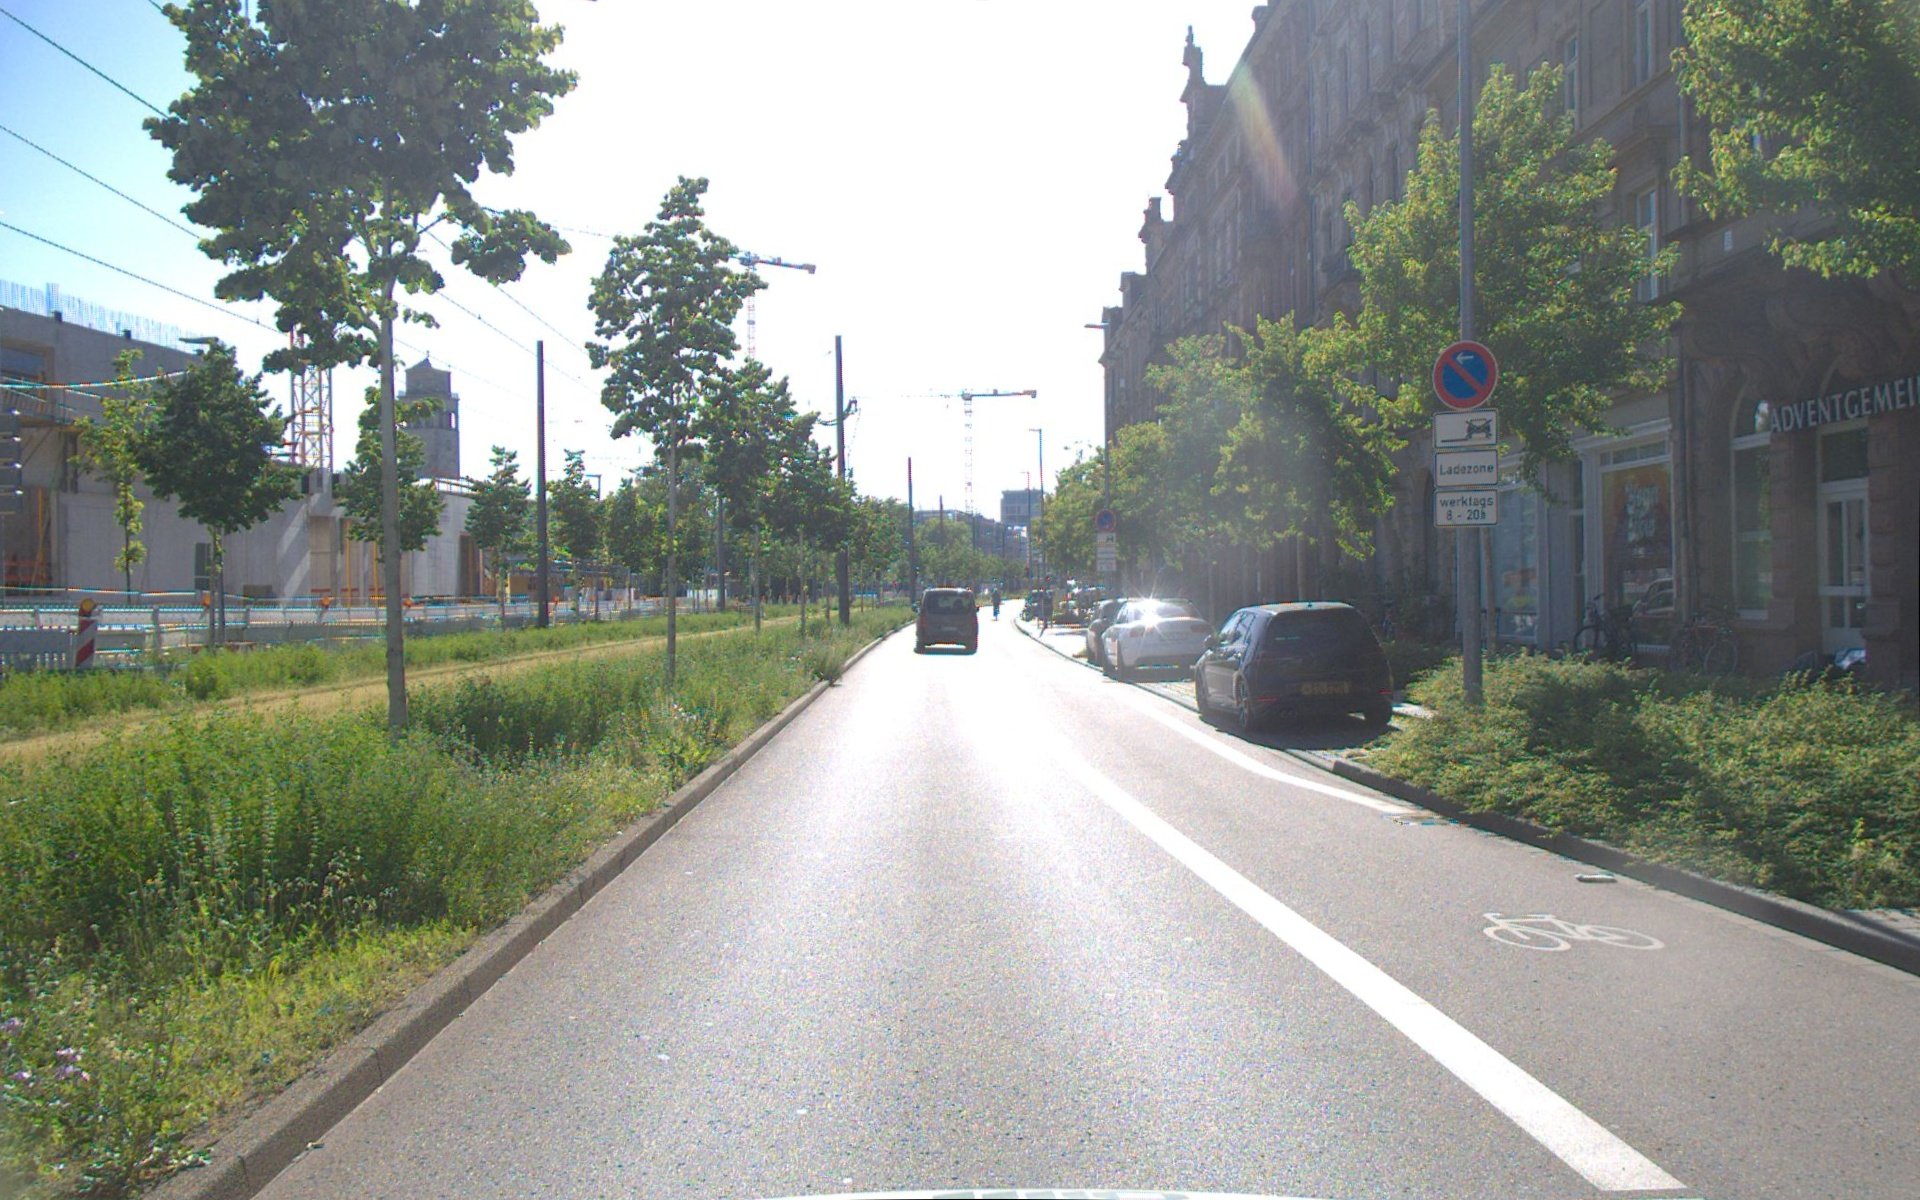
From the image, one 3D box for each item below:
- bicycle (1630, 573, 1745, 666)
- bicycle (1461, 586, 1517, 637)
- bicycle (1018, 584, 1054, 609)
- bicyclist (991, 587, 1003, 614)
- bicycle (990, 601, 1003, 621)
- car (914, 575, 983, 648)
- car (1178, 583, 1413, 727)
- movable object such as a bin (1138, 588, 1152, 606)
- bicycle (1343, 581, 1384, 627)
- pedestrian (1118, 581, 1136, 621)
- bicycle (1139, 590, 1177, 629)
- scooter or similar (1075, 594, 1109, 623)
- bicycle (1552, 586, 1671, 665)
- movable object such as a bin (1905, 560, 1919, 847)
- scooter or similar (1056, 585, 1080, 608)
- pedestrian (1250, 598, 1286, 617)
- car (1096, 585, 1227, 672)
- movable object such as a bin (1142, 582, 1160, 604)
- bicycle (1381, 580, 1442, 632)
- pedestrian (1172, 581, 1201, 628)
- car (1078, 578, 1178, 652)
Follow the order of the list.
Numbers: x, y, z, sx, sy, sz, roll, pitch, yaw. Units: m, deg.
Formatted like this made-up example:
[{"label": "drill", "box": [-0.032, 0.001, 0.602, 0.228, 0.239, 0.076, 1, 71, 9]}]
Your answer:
[{"label": "bicycle", "box": [10.128, 0.265, 23.091, 0.733, 1.222, 1.800, -2, 0, -1]}, {"label": "bicycle", "box": [10.456, 0.209, 32.737, 0.438, 0.961, 2.012, -1, 1, -1]}, {"label": "bicycle", "box": [4.161, -0.192, 90.780, 1.843, 1.255, 0.499, -4, 0, -7]}, {"label": "bicyclist", "box": [2.179, 0.030, 98.609, 0.669, 1.612, 0.839, -1, 0, -1]}, {"label": "bicycle", "box": [2.194, 0.649, 98.475, 0.687, 1.110, 2.277, 0, 0, -1]}, {"label": "car", "box": [-0.394, 0.328, 49.015, 1.953, 2.049, 3.999, 0, 0, -2]}, {"label": "car", "box": [4.042, 0.621, 20.700, 1.731, 1.502, 4.445, -4, 0, -3]}, {"label": "movable object such as a bin", "box": [9.594, -0.164, 85.646, 0.592, 0.932, 0.650, -1, 1, -5]}, {"label": "bicycle", "box": [10.154, 0.078, 41.637, 0.471, 1.109, 2.056, -2, 0, -1]}, {"label": "pedestrian", "box": [8.593, 0.070, 85.360, 0.801, 2.049, 1.046, 0, -2, -1]}, {"label": "bicycle", "box": [5.986, 0.280, 50.048, 0.638, 1.139, 2.169, -3, 0, -6]}, {"label": "scooter or similar", "box": [6.160, 0.380, 77.229, 1.445, 1.237, 0.601, -3, 1, -5]}, {"label": "bicycle", "box": [10.265, 0.378, 26.160, 0.858, 1.124, 2.180, -4, 1, -4]}, {"label": "movable object such as a bin", "box": [5.556, 0.571, 7.853, 1.244, 1.488, 1.645, 0, 2, 4]}, {"label": "scooter or similar", "box": [5.757, -0.196, 87.953, 1.194, 1.125, 0.783, -3, 1, 2]}, {"label": "pedestrian", "box": [10.062, 0.229, 54.117, 0.757, 0.562, 2.007, -2, 1, -1]}, {"label": "car", "box": [3.974, 0.518, 33.407, 1.912, 1.521, 5.104, -3, 0, -1]}, {"label": "movable object such as a bin", "box": [9.534, -0.359, 82.634, 0.711, 1.117, 0.747, -1, 1, -5]}, {"label": "bicycle", "box": [10.161, 0.127, 37.292, 0.706, 1.109, 2.198, -2, 0, -1]}, {"label": "pedestrian", "box": [8.695, 0.170, 63.396, 0.976, 1.762, 0.866, 0, 0, -1]}, {"label": "car", "box": [4.016, 0.345, 40.144, 1.846, 1.597, 4.219, -3, 0, -1]}]
